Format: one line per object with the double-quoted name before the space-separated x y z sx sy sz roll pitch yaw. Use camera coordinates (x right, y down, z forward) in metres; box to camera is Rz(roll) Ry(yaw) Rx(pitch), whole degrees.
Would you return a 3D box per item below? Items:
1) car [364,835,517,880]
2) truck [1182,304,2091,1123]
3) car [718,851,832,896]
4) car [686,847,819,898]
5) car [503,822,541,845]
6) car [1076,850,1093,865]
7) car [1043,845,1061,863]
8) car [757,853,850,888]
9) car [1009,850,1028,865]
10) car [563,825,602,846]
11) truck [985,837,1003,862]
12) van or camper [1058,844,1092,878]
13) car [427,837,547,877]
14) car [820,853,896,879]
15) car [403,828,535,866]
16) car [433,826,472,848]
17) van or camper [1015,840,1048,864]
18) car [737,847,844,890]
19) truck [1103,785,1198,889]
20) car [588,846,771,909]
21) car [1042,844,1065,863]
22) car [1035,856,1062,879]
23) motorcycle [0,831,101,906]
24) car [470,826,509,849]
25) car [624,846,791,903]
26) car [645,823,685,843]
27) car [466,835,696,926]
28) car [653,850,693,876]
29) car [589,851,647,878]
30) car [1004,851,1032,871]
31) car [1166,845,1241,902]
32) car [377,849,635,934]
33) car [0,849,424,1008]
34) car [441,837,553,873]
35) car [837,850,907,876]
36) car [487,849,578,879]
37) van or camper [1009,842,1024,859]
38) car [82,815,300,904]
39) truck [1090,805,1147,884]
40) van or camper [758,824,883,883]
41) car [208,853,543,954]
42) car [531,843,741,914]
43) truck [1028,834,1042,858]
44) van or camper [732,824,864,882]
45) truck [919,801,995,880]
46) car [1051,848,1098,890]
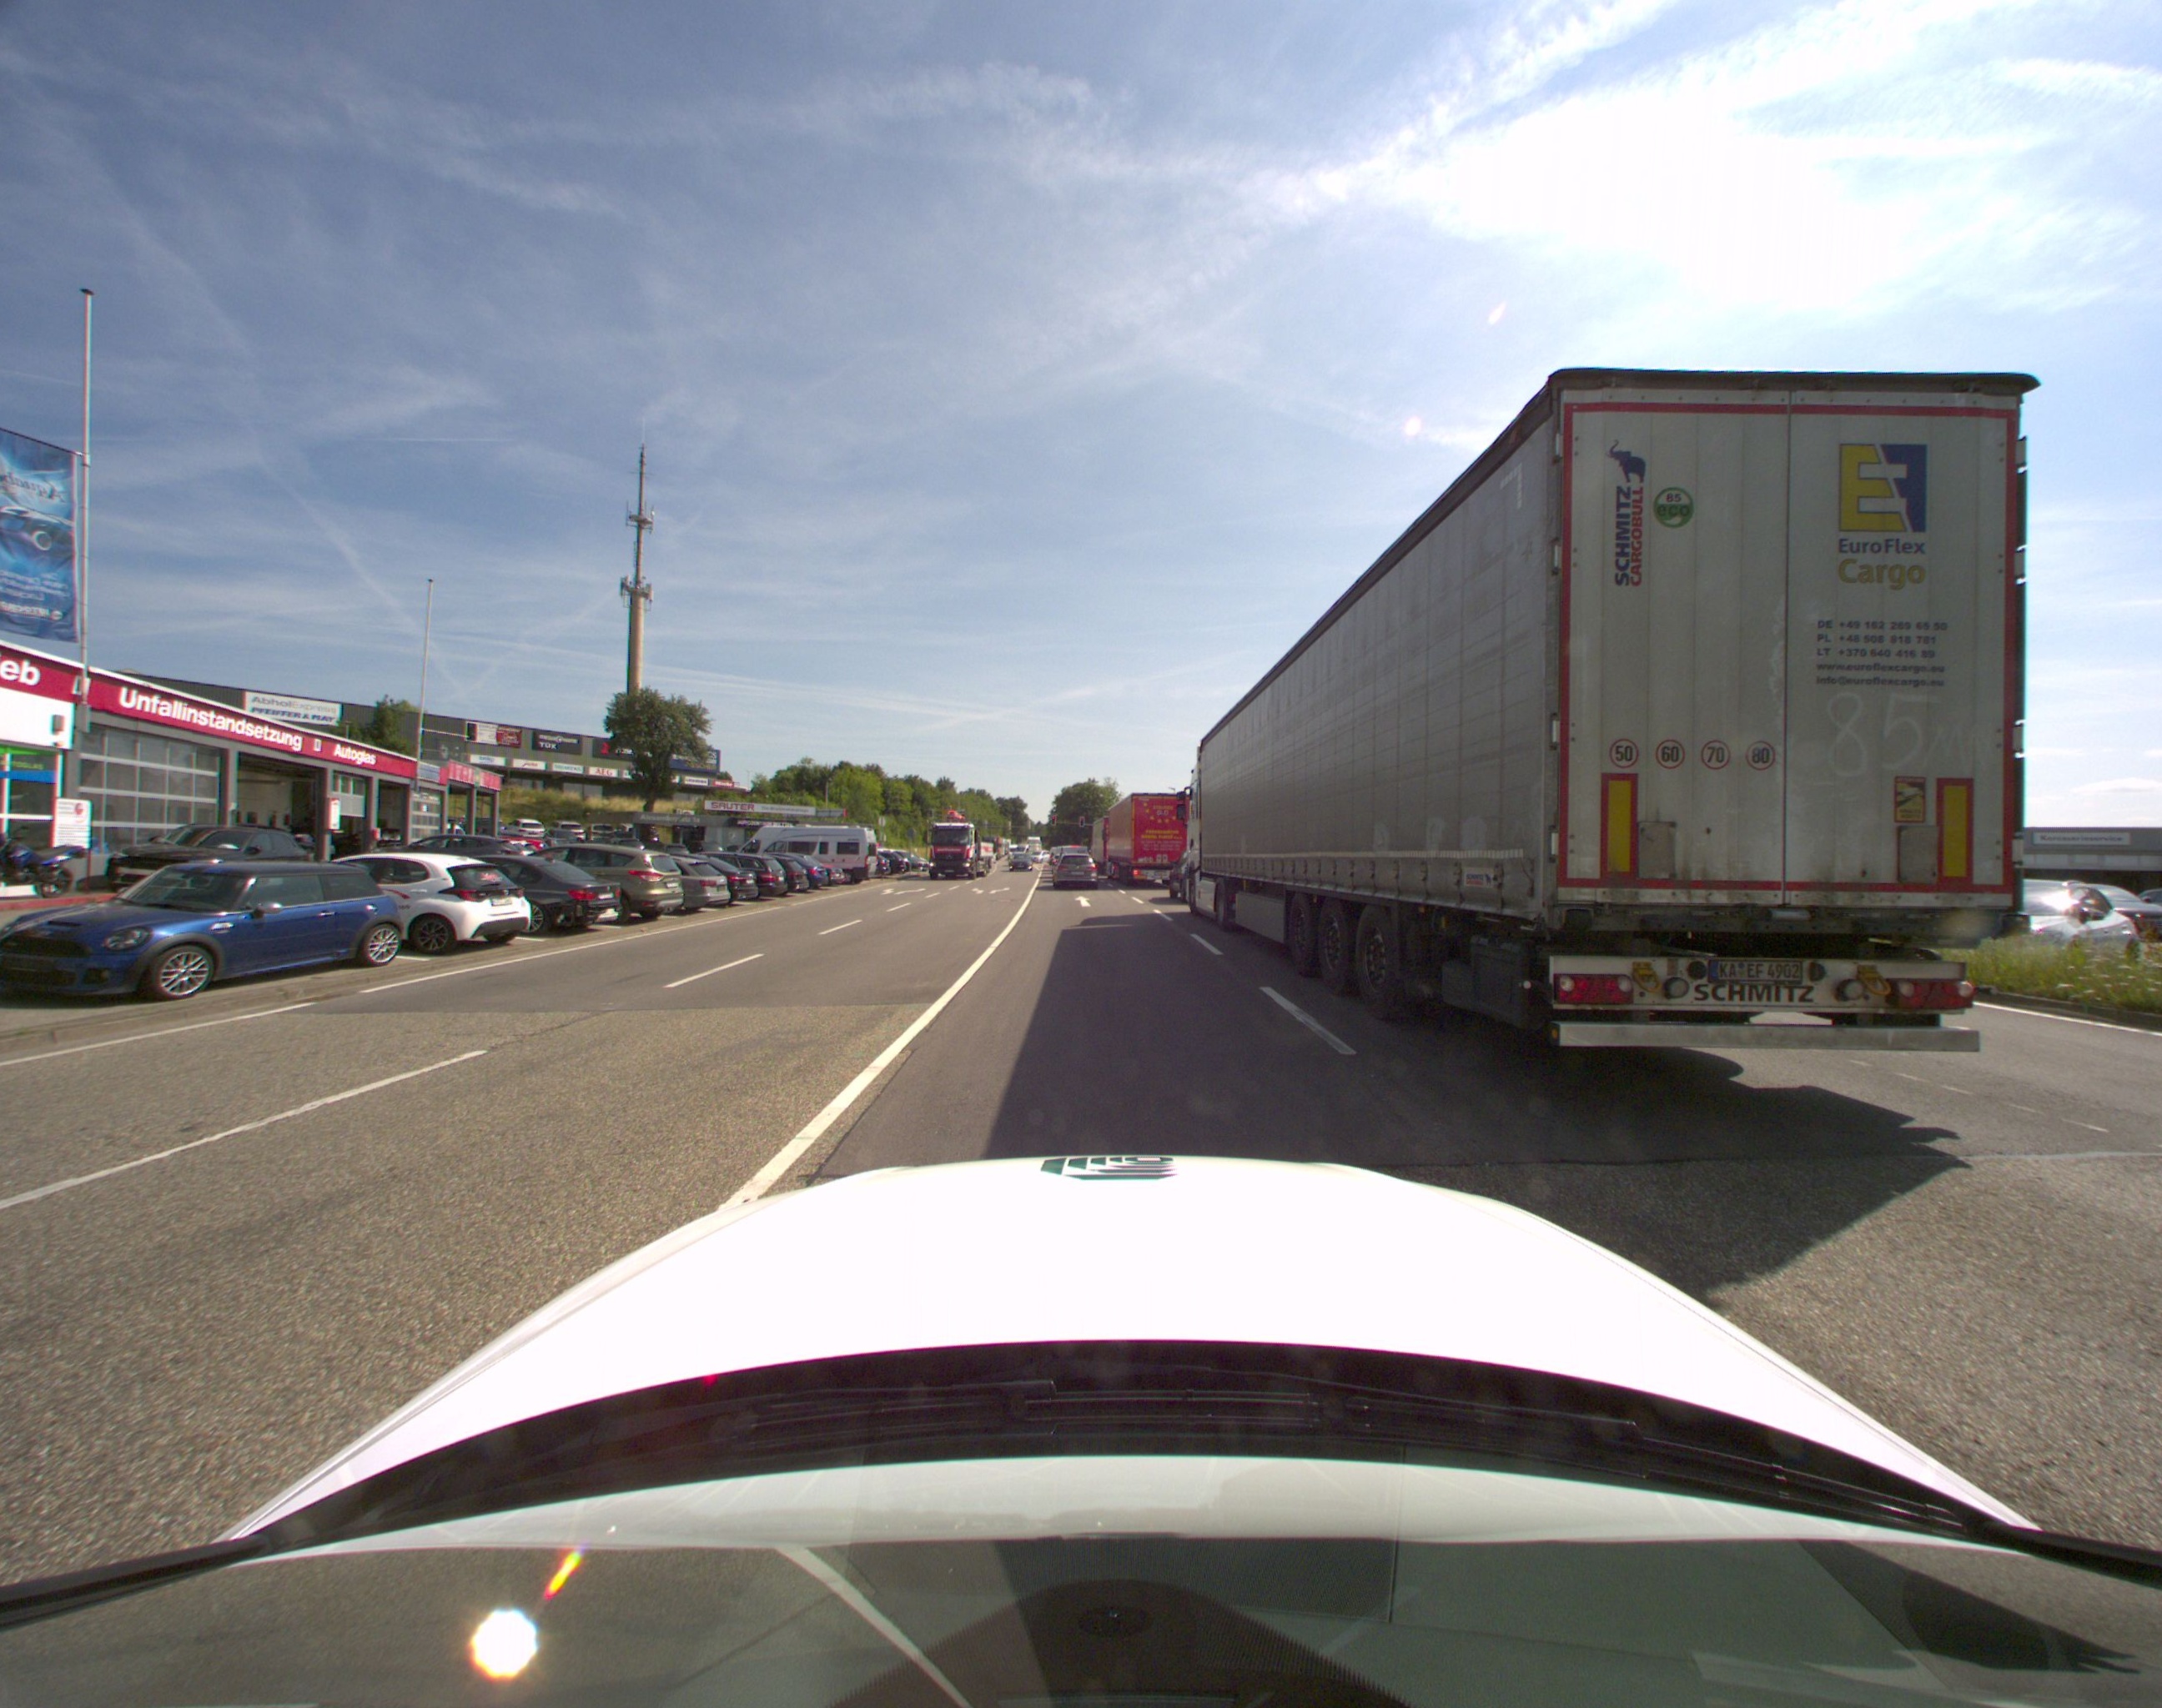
"car" -22.639 0.101 28.991 3.957 1.532 1.754 0 0 -25
"truck" 3.930 -0.744 12.600 2.880 4.266 16.710 0 0 1
"car" -11.624 0.722 31.103 3.700 1.555 1.706 2 1 -4
"car" -11.387 0.614 28.444 3.836 1.484 1.799 4 0 -4
"car" -40.254 -1.440 58.609 1.746 1.537 3.703 1 -1 -43
"car" 0.350 0.402 87.016 1.722 1.519 3.309 1 -1 -2
"car" -3.101 0.058 88.630 1.720 1.909 3.313 1 -1 1
"car" -12.468 0.736 36.770 3.583 1.480 1.811 -1 0 -1
"car" -6.731 0.358 87.833 1.907 1.521 4.771 0 0 -6
"car" -37.199 -1.330 60.735 1.746 1.450 3.703 1 -1 -43
"truck" -13.919 -0.763 130.522 2.809 3.786 6.976 -1 0 -6
"van or camper" -0.371 0.382 47.938 1.848 1.905 3.781 1 0 -3
"car" -25.158 0.111 34.667 3.835 1.588 1.754 0 0 -25
"car" -12.593 0.651 46.127 3.808 1.448 1.841 0 0 -3
"car" -23.957 -0.272 32.042 3.835 1.431 1.754 0 0 -25
"car" -43.190 -1.148 55.962 1.746 1.450 3.703 1 -1 -43
"van or camper" -6.818 -0.242 112.922 2.189 3.055 5.932 3 0 21
"car" -11.844 0.578 33.438 3.700 1.484 1.705 4 0 -4
"truck" 3.075 -0.728 41.787 2.949 4.269 16.571 1 0 -2
"car" -11.526 0.668 23.607 4.289 1.484 1.796 4 0 -4
"car" -2.188 -0.024 65.936 1.721 1.519 3.312 1 -1 1
"car" -2.238 0.945 57.541 1.721 1.519 3.312 1 -1 0
"motorcycle" -18.711 0.247 14.474 0.773 1.261 2.040 0 0 -22
"car" -41.399 -1.135 56.997 1.746 1.450 3.703 1 -1 -43
"car" -11.922 0.627 26.234 4.450 1.484 1.770 4 0 -4
"car" -32.254 -1.581 63.098 1.746 1.450 3.703 1 -1 -43
"car" -11.107 0.570 18.332 3.878 1.716 1.804 4 0 -4
"car" -25.666 0.544 51.171 1.776 1.588 3.788 0 0 -35
"car" -28.355 0.643 49.887 3.780 1.588 1.780 0 0 38
"car" -5.067 0.555 65.807 1.800 1.560 4.387 -1 0 1
"car" 3.849 0.568 26.174 1.813 1.685 4.000 -1 0 0
"car" -11.146 0.684 16.015 3.700 1.525 1.790 -1 0 -4
"car" -10.704 0.757 10.188 1.773 1.494 3.781 4 0 0
"car" -26.402 0.038 36.964 3.835 1.588 1.754 0 0 -25
"car" -12.552 0.531 49.073 3.808 1.539 1.841 0 0 -3
"car" -29.687 0.511 44.151 3.797 1.588 1.772 0 0 6
"van or camper" -10.264 -0.529 129.012 2.168 2.551 4.167 1 0 -3
"car" -19.992 0.167 18.569 1.831 1.675 4.091 6 -4 -26
"truck" 2.571 -0.663 62.339 3.054 5.220 16.994 1 0 -2
"van or camper" -12.426 -0.011 39.118 5.229 2.731 2.210 0 0 -1
"car" -11.385 0.744 13.393 3.788 1.525 1.844 0 0 -4
"car" -11.337 0.608 21.013 4.268 1.484 1.834 4 0 -4
"truck" -8.682 -1.495 154.370 2.546 4.307 7.590 -1 0 -2
"van or camper" -14.326 -0.058 41.464 5.876 2.873 2.288 0 1 -2
"truck" -7.251 -0.755 49.292 2.947 4.209 10.643 -2 0 0
"car" -0.218 0.593 33.474 1.784 1.638 3.504 0 0 1
